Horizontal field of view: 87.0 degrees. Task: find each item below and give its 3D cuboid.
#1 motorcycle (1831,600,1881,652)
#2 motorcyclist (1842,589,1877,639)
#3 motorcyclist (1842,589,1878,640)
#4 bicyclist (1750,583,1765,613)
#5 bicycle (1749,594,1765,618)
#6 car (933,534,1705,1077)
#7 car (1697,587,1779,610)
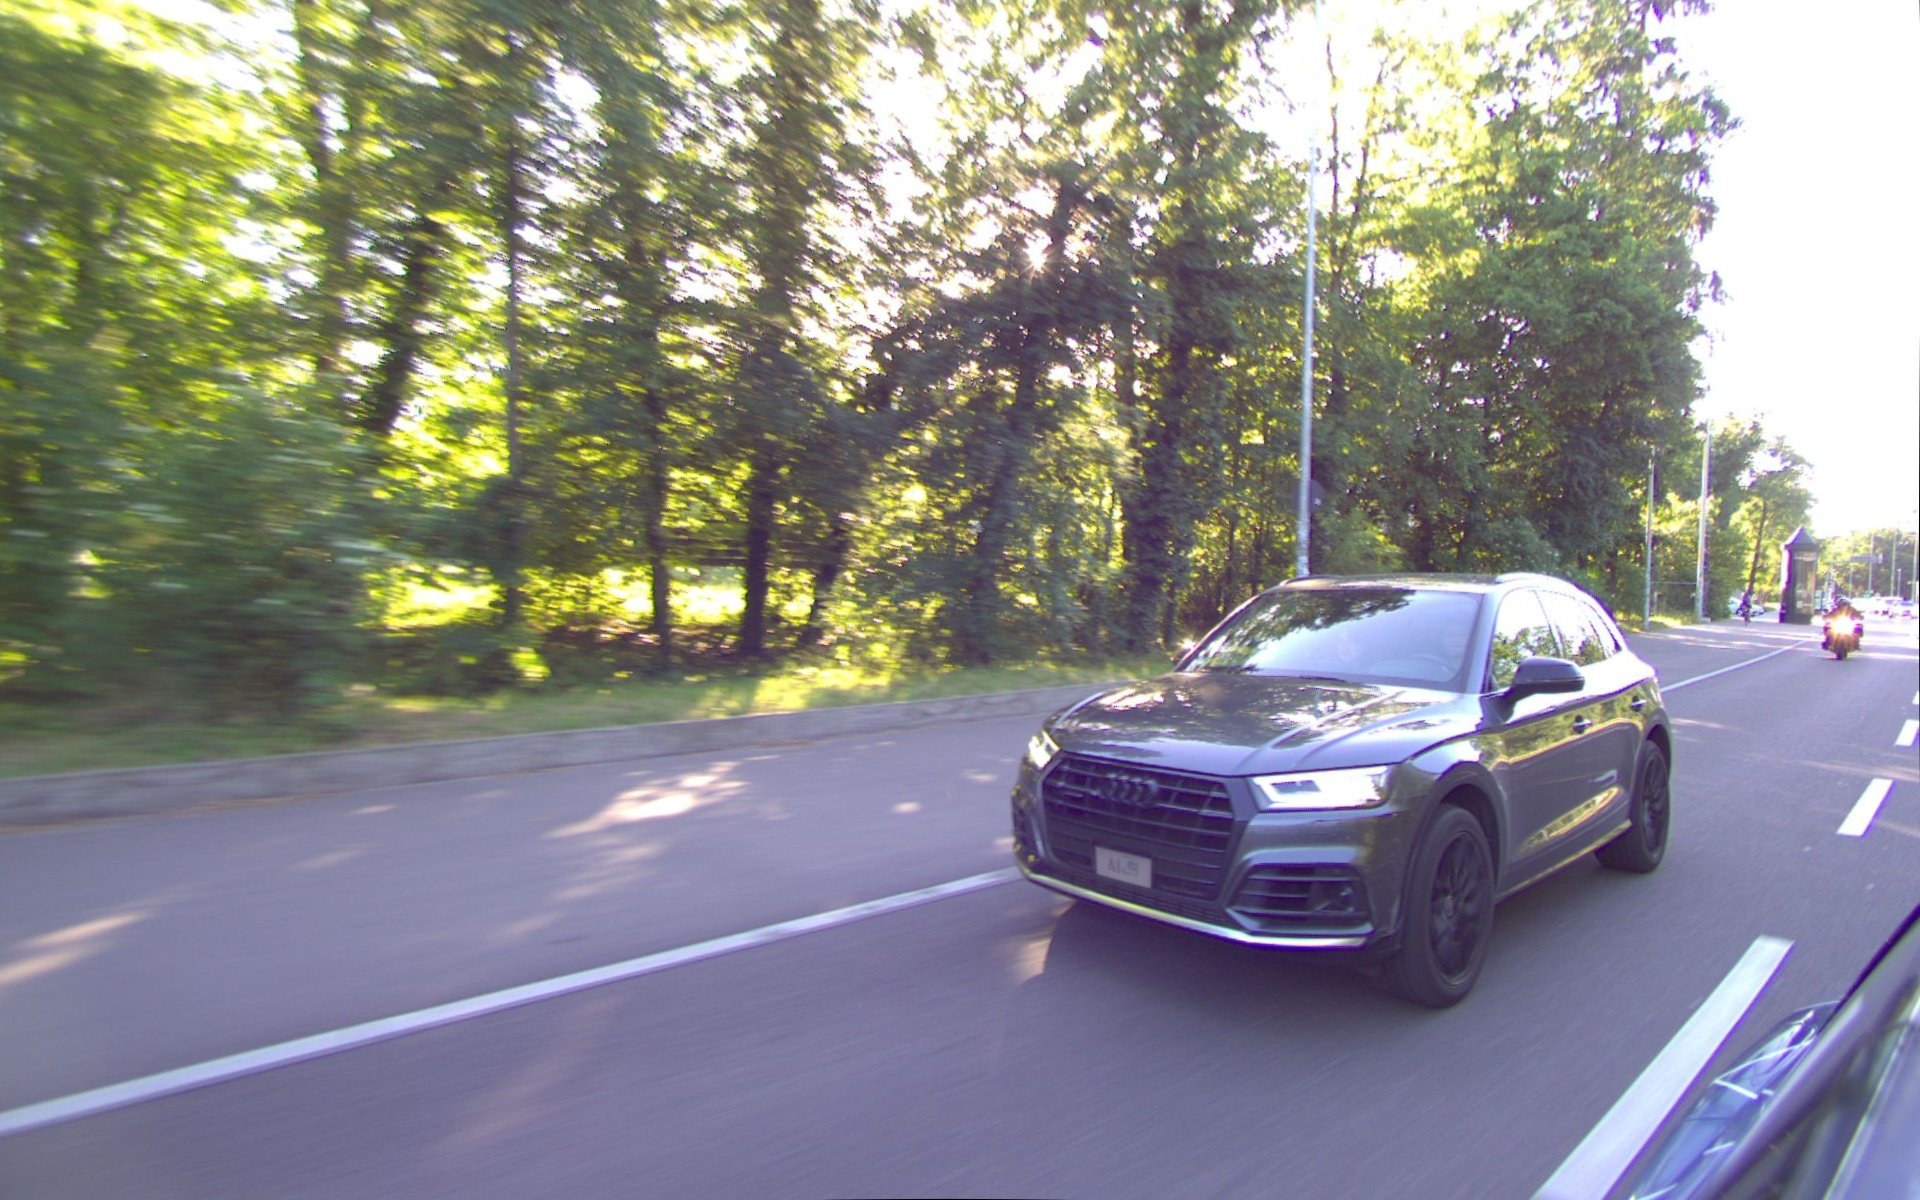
[{"bbox_3d":[23.114,0.634,26.078,0.913,1.266,2.916,0,0,43],"label":"motorcycle"},{"bbox_3d":[23.771,0.357,26.755,0.669,1.280,0.814,0,0,41],"label":"motorcyclist"},{"bbox_3d":[23.210,0.364,26.106,0.669,1.280,0.814,0,0,41],"label":"motorcyclist"},{"bbox_3d":[40.306,-0.120,51.165,0.520,1.488,0.848,-2,-1,41],"label":"bicyclist"},{"bbox_3d":[40.389,0.299,51.252,0.553,1.151,1.837,-1,0,40],"label":"bicycle"},{"bbox_3d":[2.164,0.601,5.247,4.466,1.625,1.895,0,0,-42],"label":"car"},{"bbox_3d":[56.161,-0.117,73.126,1.788,1.395,4.383,0,3,-40],"label":"car"}]
